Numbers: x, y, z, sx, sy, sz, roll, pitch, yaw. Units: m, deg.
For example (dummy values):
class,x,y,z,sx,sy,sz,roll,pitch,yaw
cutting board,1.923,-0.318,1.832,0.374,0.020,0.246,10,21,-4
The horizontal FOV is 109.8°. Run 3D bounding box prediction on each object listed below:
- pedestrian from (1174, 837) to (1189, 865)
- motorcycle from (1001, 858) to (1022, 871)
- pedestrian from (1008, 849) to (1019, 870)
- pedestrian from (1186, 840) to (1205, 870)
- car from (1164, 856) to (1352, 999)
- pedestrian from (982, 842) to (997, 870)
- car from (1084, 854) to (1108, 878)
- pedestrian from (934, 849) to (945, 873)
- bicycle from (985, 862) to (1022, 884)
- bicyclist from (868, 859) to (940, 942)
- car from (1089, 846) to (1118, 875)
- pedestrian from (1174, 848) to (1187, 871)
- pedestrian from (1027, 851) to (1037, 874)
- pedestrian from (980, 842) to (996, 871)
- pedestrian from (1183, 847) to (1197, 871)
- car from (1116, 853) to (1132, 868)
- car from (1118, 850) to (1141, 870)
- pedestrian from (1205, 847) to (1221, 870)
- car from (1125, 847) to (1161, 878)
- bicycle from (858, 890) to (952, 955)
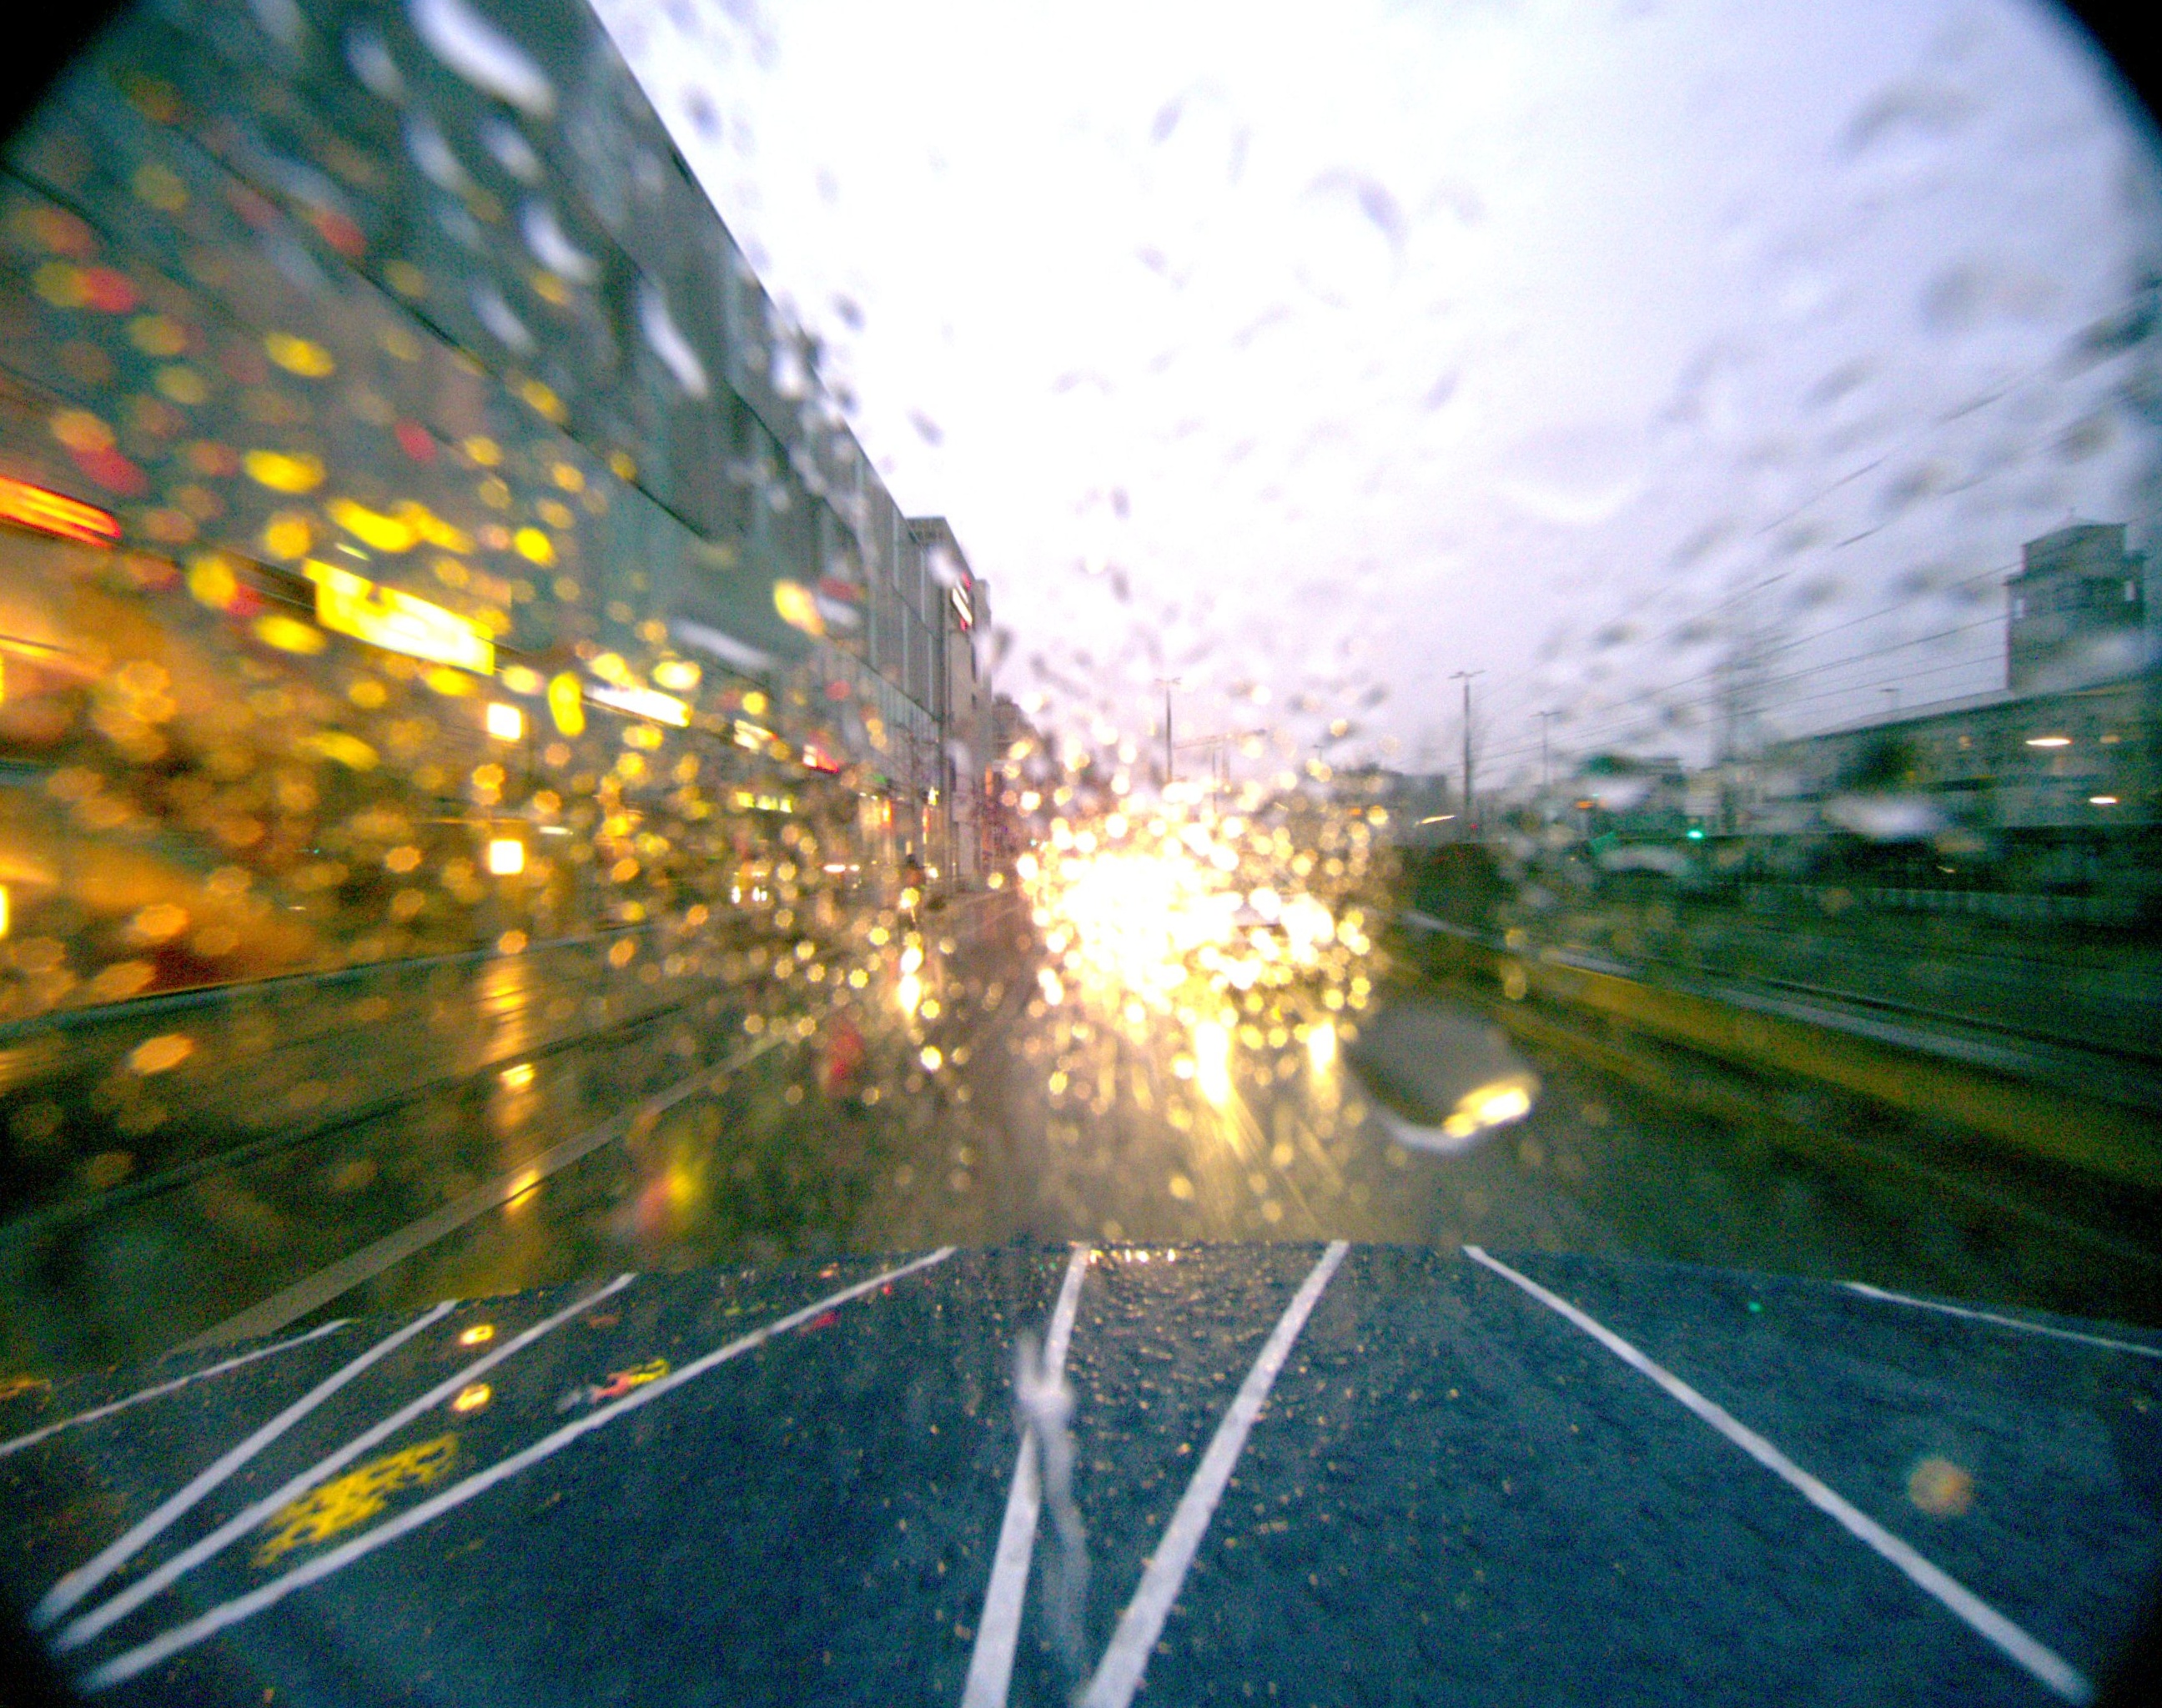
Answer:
class,x,y,z,sx,sy,sz,roll,pitch,yaw
pedestrian,7.977,-0.240,60.238,0.906,2.133,1.017,-2,1,-9
motorcycle,-5.438,0.823,59.489,1.636,0.884,0.395,-2,0,4
pedestrian,-5.303,0.458,59.819,0.779,1.598,0.501,-2,0,3
pedestrian,8.753,0.081,58.216,1.054,2.195,0.956,-2,1,-25
car,2.152,0.820,10.346,1.813,1.464,4.140,-2,0,4
pedestrian,-7.090,0.181,58.845,0.965,2.149,0.581,-1,1,14
car,1.380,1.003,67.797,1.998,2.002,4.000,-2,1,2
pedestrian,-10.625,0.517,57.036,0.616,1.794,0.624,-2,0,3
bicycle,-4.225,1.027,41.328,1.908,1.168,0.667,0,1,2
bicyclist,-3.281,0.836,14.167,0.945,1.454,1.067,-2,1,7
car,1.614,0.416,52.842,1.864,1.867,4.001,-2,0,3
pedestrian,7.505,0.405,57.286,0.665,1.725,0.606,-1,3,38
pedestrian,-3.657,0.649,56.758,0.707,1.685,0.723,0,0,-9
pedestrian,-7.083,0.198,58.171,0.960,2.179,0.711,-1,1,14
pedestrian,8.125,0.373,56.579,0.654,1.708,0.749,-2,1,-24
car,5.275,0.780,93.732,1.867,1.652,3.987,-2,1,2
car,4.322,0.496,67.927,1.867,1.652,3.987,-2,1,2
pedestrian,9.899,0.317,57.157,0.862,1.704,0.763,-2,1,-25
car,3.628,0.461,44.767,1.998,1.673,4.001,-2,0,4
bicycle,-3.231,1.240,14.237,0.945,0.993,2.241,-2,0,8
